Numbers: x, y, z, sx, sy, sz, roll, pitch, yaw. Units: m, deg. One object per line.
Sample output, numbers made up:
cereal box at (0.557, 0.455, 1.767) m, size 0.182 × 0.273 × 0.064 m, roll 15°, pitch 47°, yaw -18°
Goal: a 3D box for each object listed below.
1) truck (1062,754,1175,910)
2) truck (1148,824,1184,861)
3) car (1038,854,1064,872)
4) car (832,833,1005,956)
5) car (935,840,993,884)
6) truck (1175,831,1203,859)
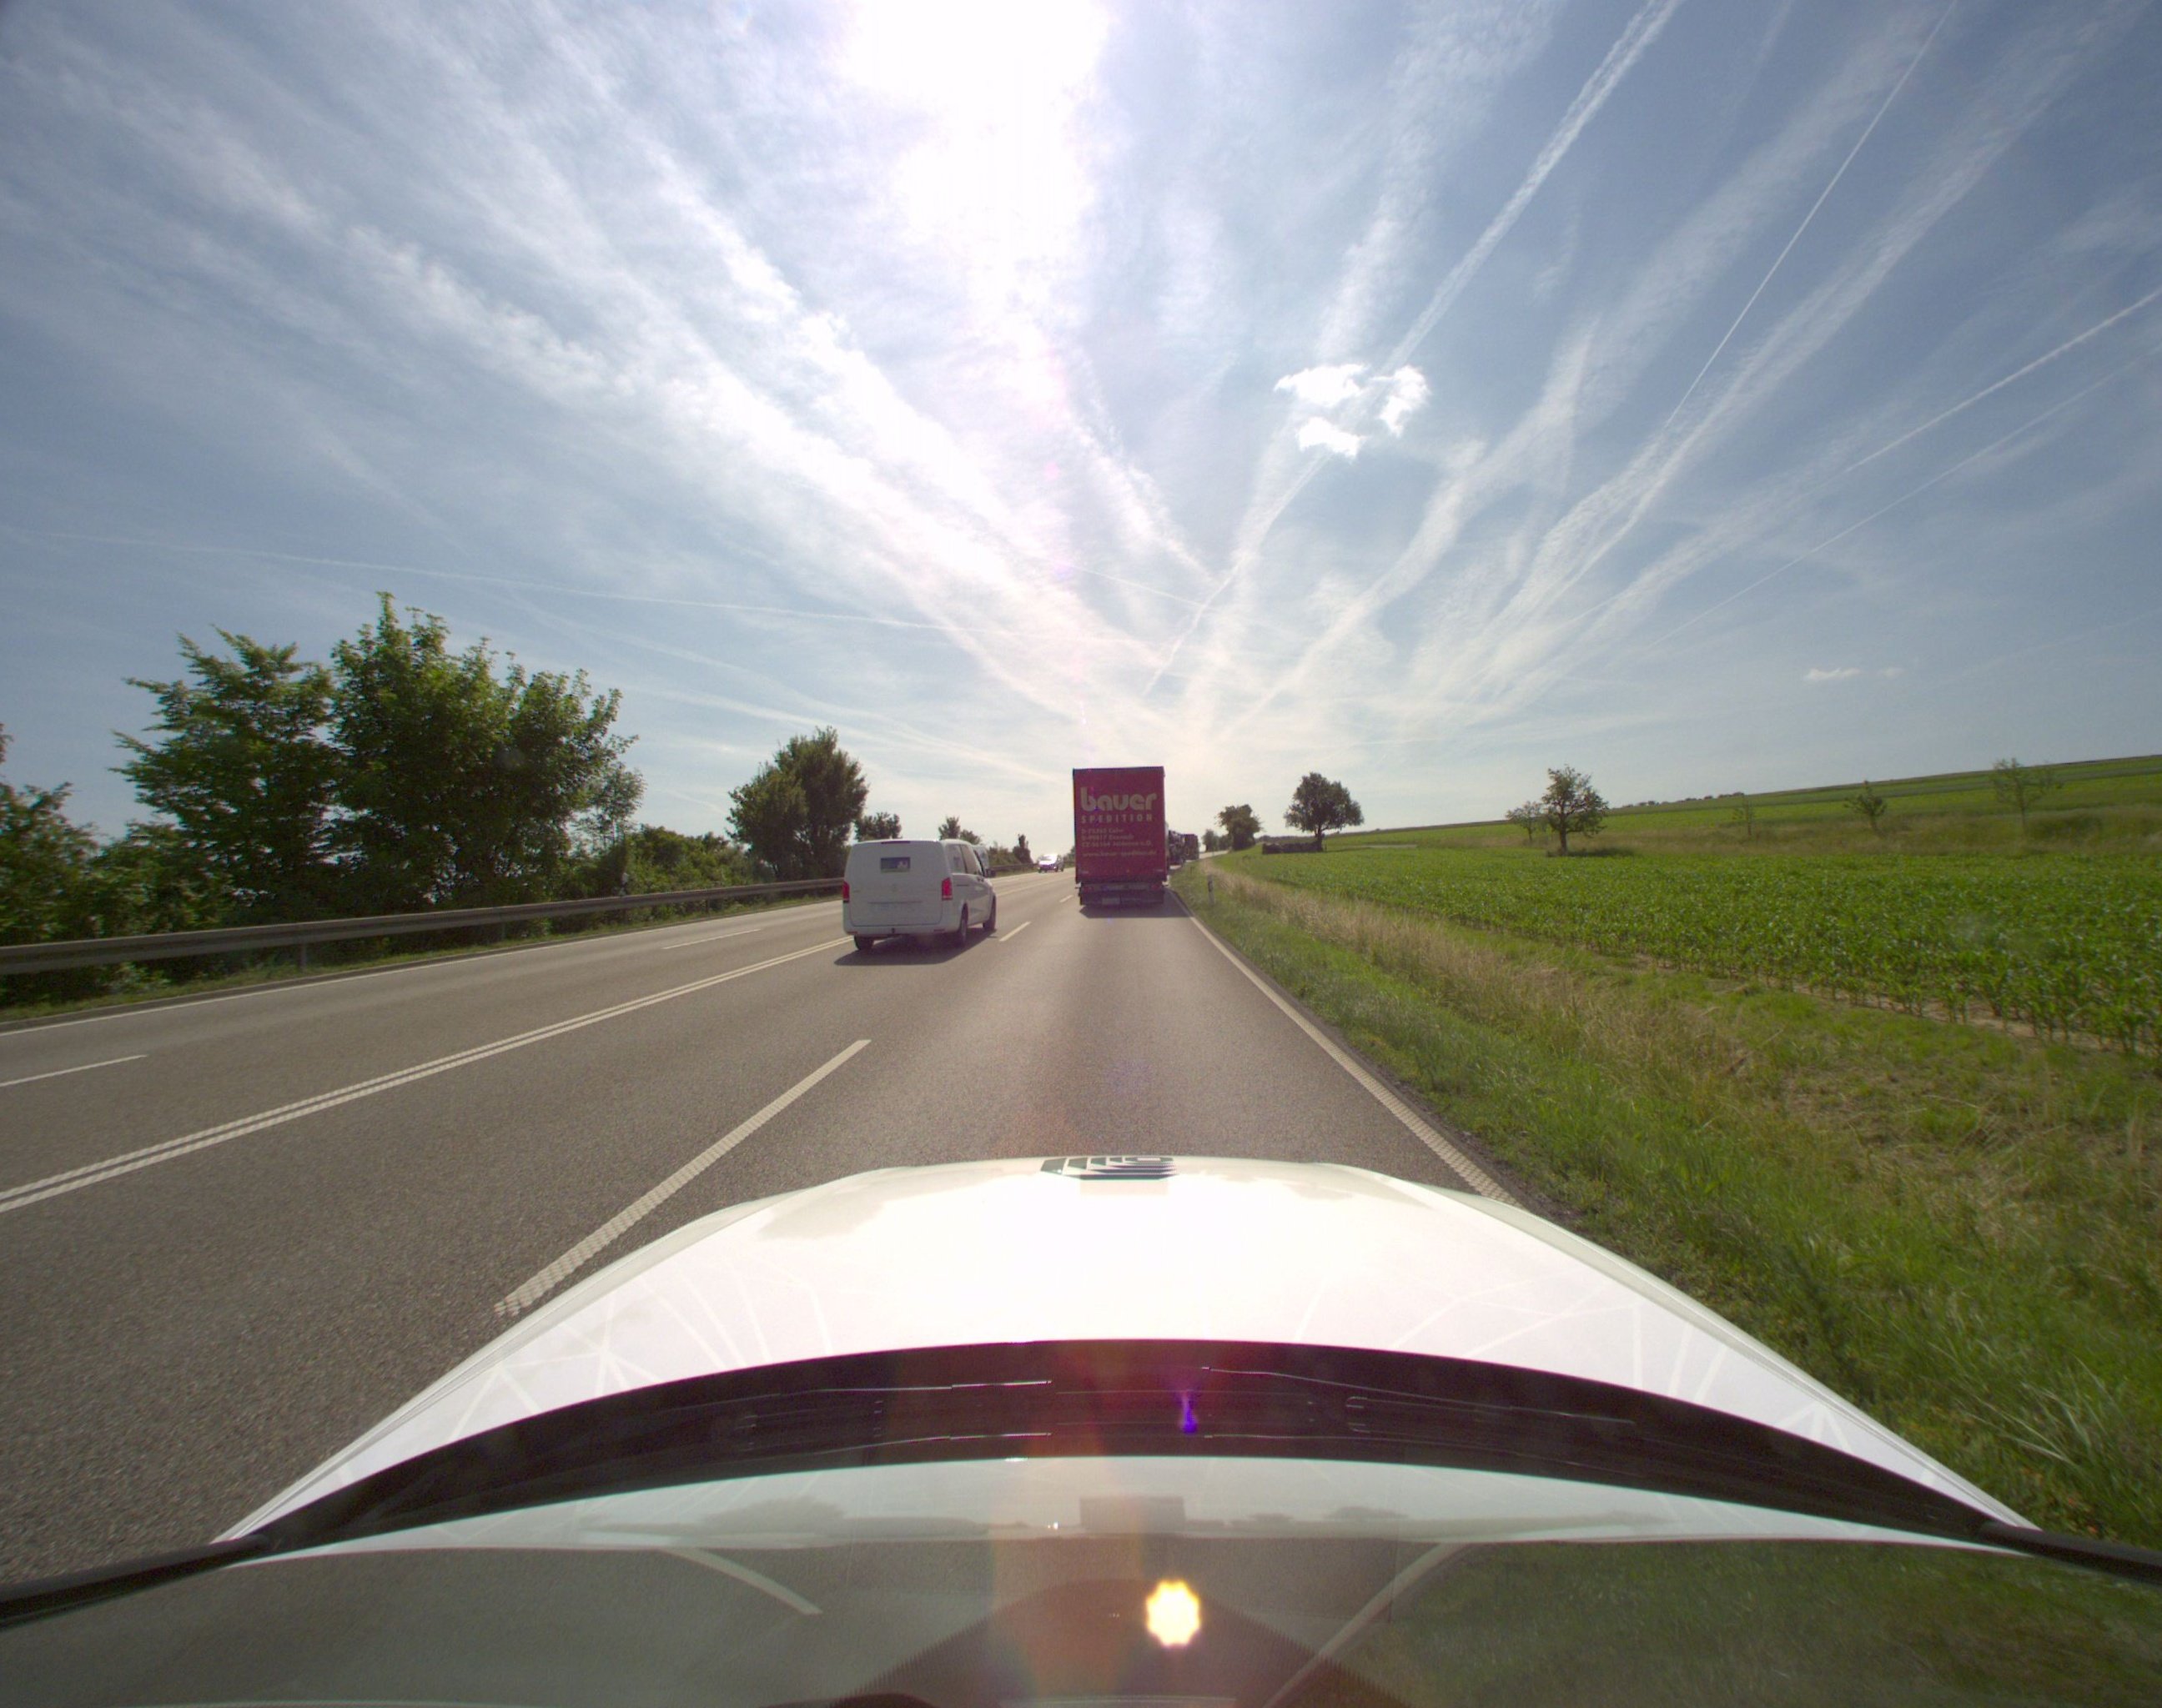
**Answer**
truck at (1.425, -0.613, 30.535) m, size 2.995 × 4.180 × 16.726 m, roll -1°, pitch 0°, yaw 3°
truck at (10.218, -1.312, 95.988) m, size 3.028 × 3.910 × 15.658 m, roll -2°, pitch 0°, yaw 10°
car at (-2.783, 0.811, 76.357) m, size 1.804 × 1.568 × 4.690 m, roll -2°, pitch 0°, yaw 4°
car at (-2.809, 0.644, 15.461) m, size 1.897 × 1.884 × 5.435 m, roll -1°, pitch 0°, yaw 3°
car at (-6.880, 0.464, 48.540) m, size 2.079 × 2.395 × 5.851 m, roll -2°, pitch 0°, yaw 4°
truck at (17.275, -1.424, 129.186) m, size 3.027 × 3.910 × 18.457 m, roll -2°, pitch 0°, yaw 12°
